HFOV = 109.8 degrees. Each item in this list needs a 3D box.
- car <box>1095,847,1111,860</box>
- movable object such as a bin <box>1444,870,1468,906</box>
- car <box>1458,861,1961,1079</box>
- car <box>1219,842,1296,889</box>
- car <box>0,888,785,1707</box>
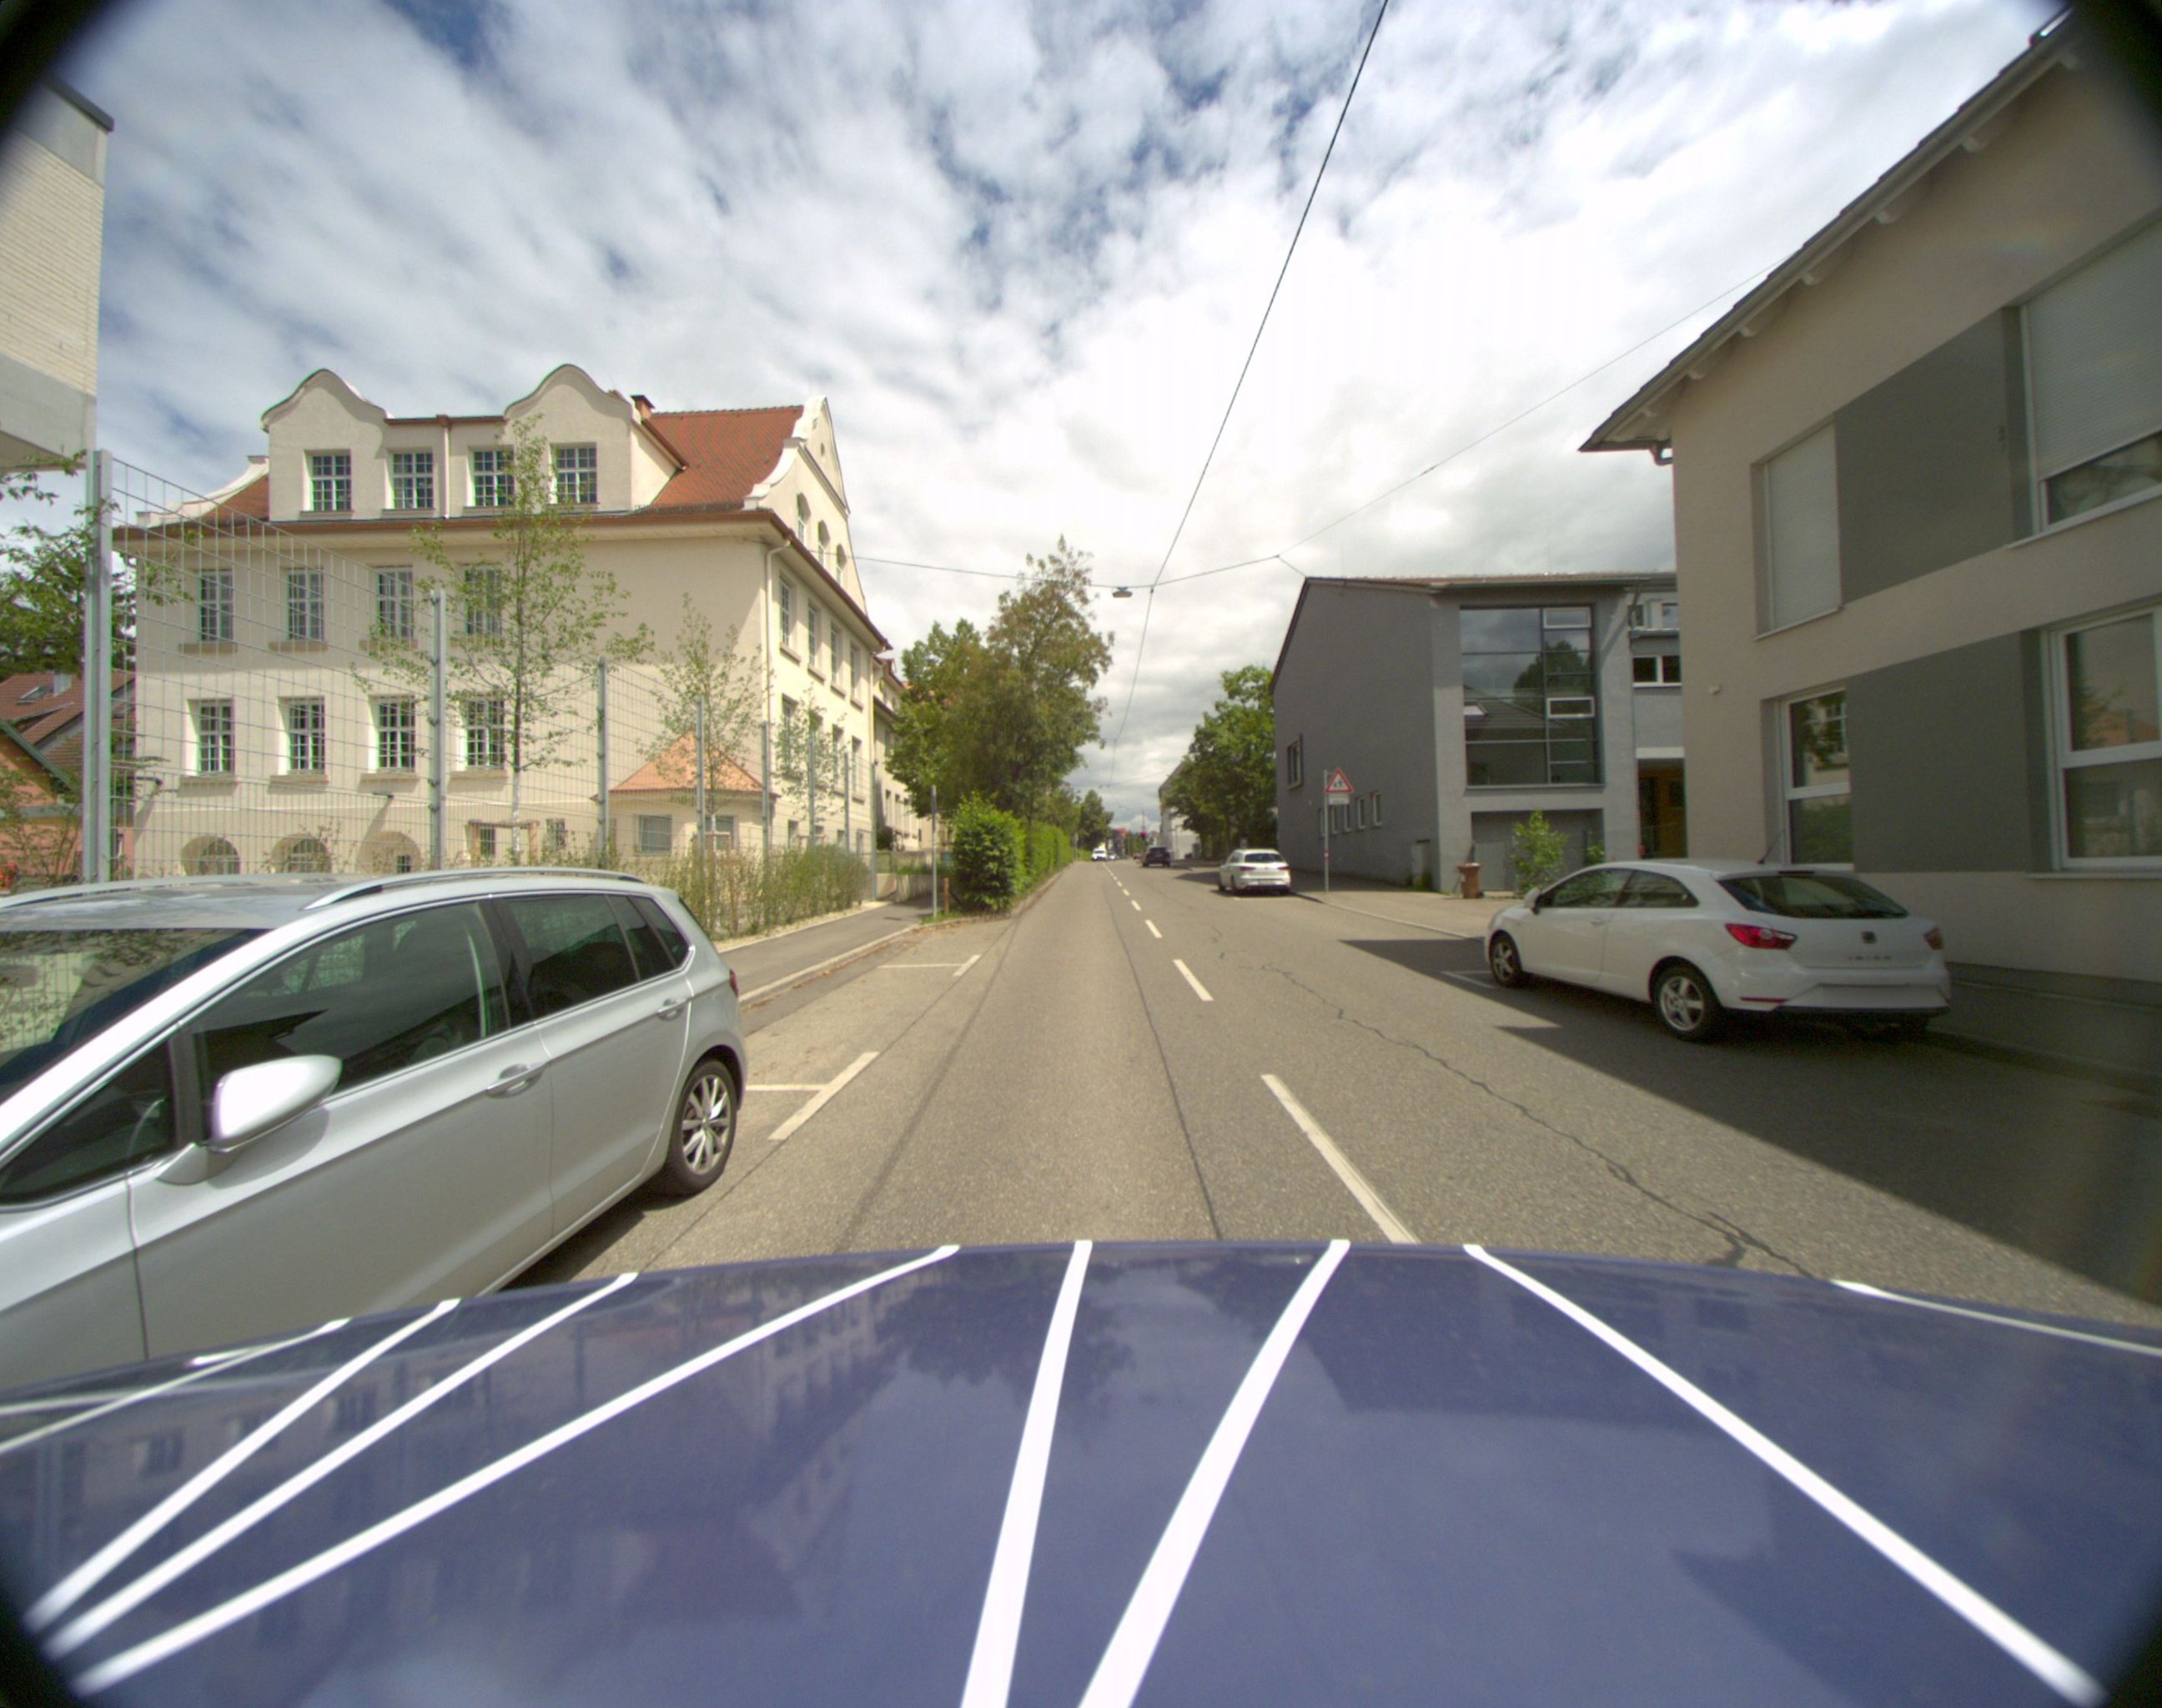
[{"bbox_3d":[2.994,-0.082,101.423,1.893,1.718,4.294,-2,0,4],"label":"car"},{"bbox_3d":[9.953,0.892,20.167,0.455,0.923,0.399,-1,1,0],"label":"movable object such as a bin"},{"bbox_3d":[5.351,0.831,7.195,1.651,1.410,3.698,-2,1,-1],"label":"car"},{"bbox_3d":[5.667,0.363,24.849,1.701,1.382,3.867,-1,-1,1],"label":"car"},{"bbox_3d":[-2.700,0.997,2.284,1.790,1.500,4.364,-2,0,1],"label":"car"}]
